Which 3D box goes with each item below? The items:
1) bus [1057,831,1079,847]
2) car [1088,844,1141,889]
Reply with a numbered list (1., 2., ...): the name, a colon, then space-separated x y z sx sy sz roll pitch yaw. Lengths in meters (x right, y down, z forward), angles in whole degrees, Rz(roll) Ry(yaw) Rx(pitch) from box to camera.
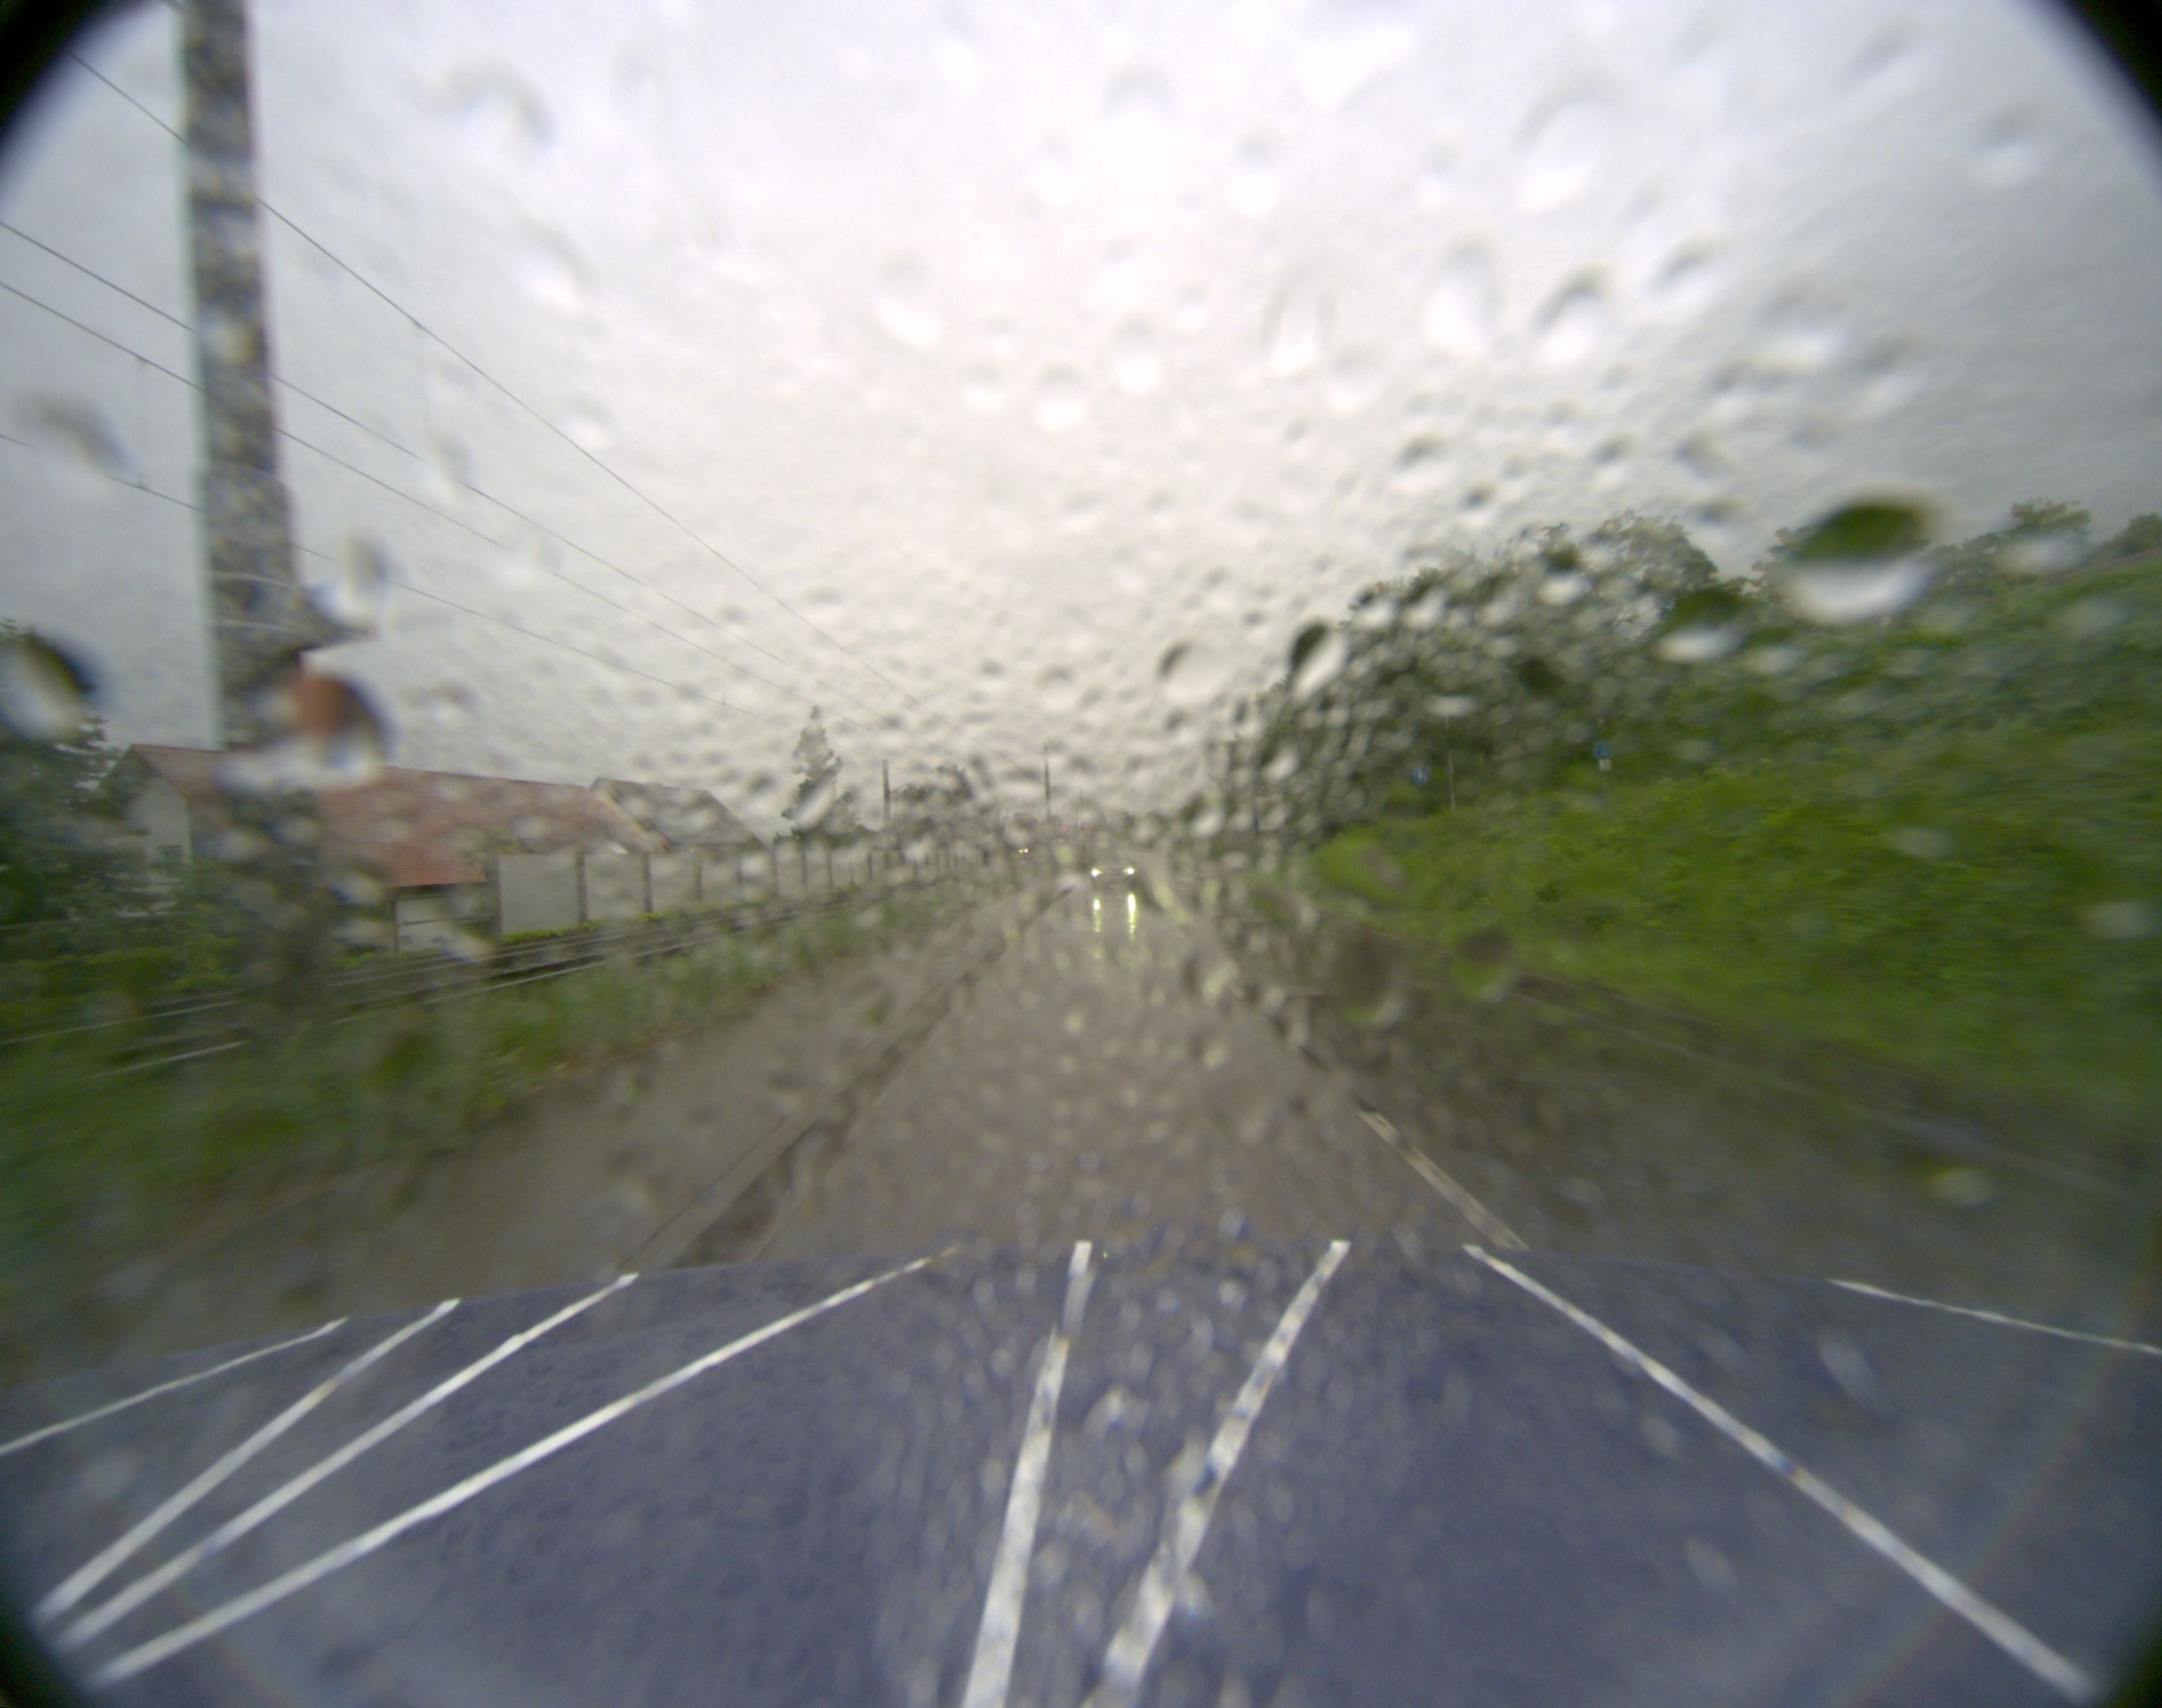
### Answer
1. bus: -2.818 -3.244 163.206 2.679 3.060 9.982 -4 2 -12
2. car: 1.480 0.471 32.356 1.998 1.623 4.000 -4 2 4
